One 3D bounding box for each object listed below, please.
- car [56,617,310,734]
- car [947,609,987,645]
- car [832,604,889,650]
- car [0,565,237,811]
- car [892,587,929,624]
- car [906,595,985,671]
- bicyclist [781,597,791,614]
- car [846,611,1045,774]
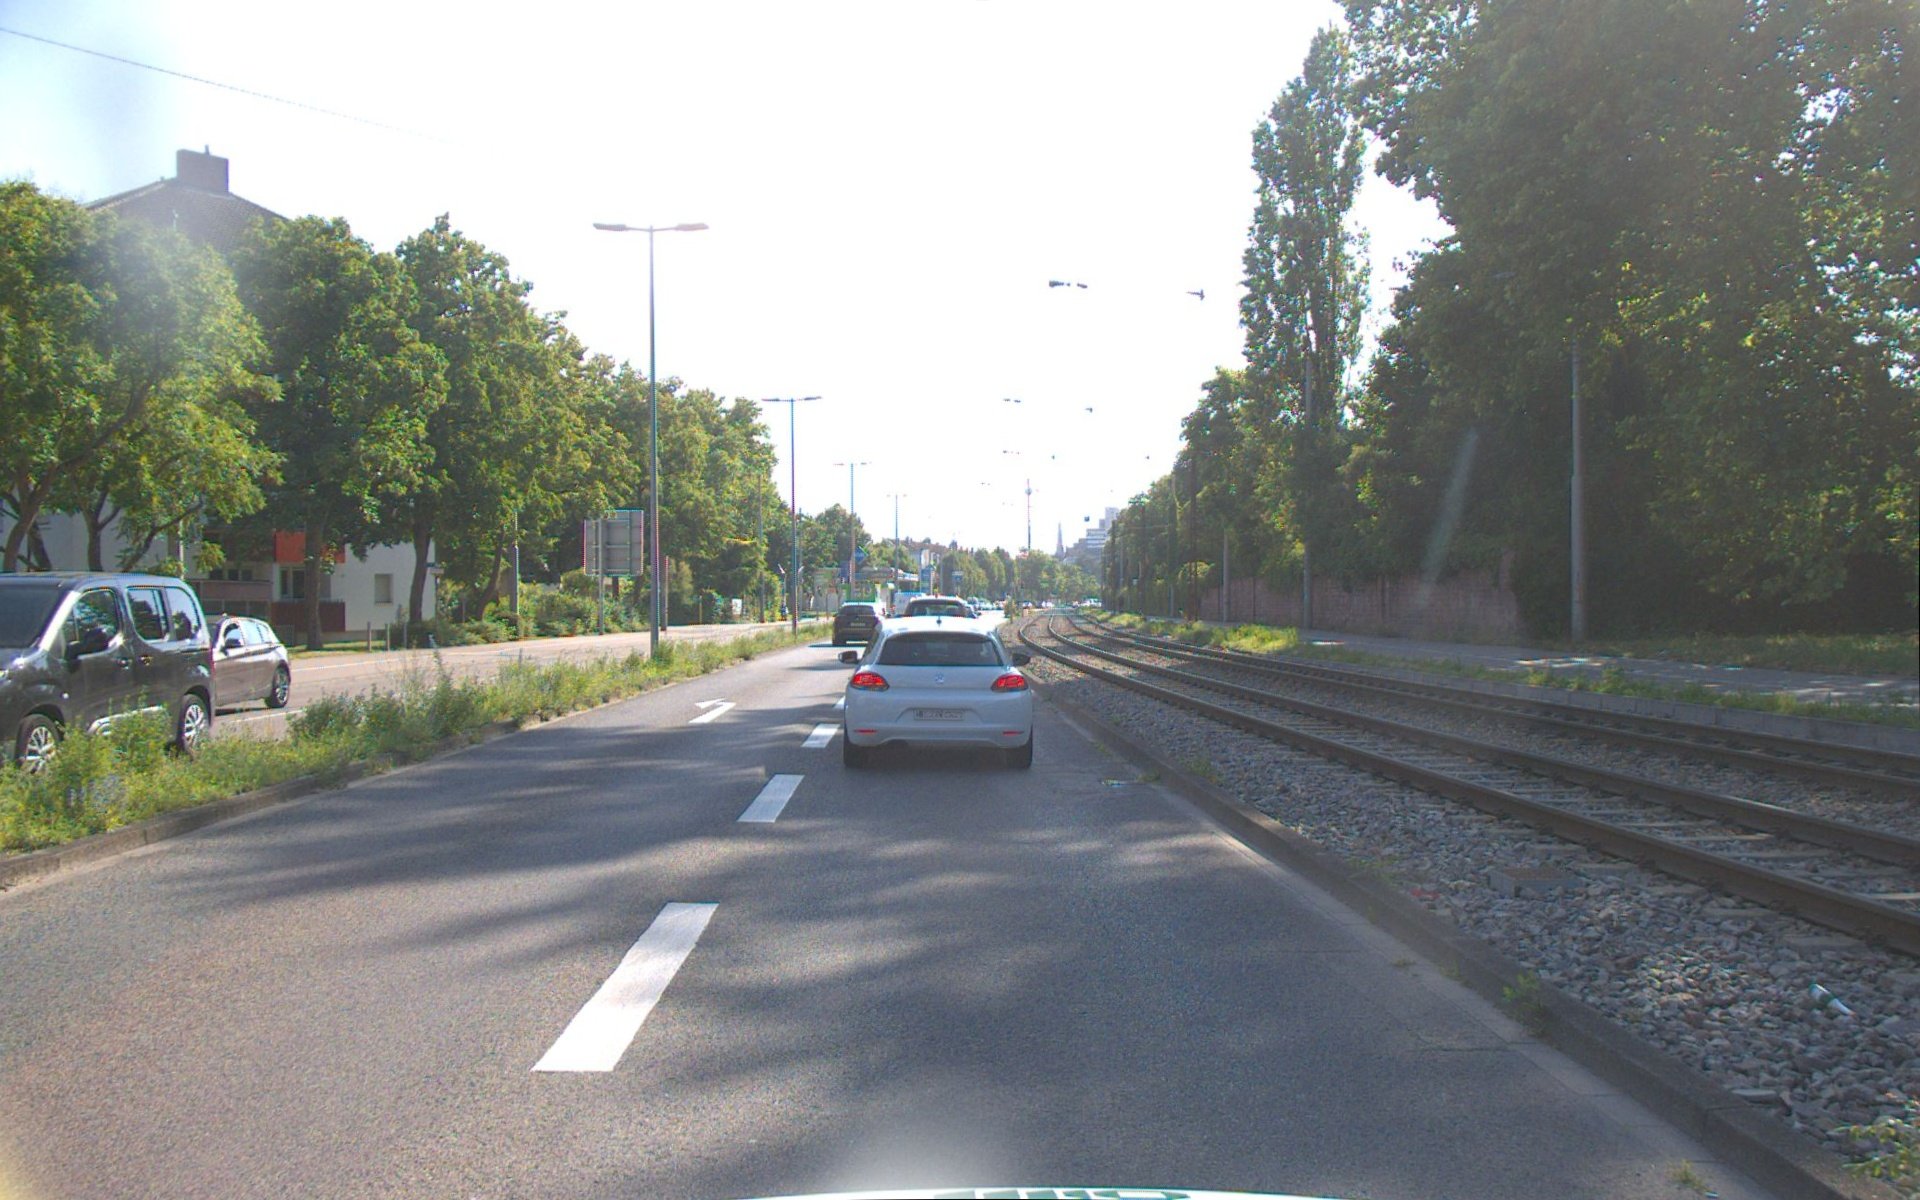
[{"bbox_3d":[-11.151,1.025,24.089,1.689,1.444,4.325,-2,0,-1],"label":"car"},{"bbox_3d":[0.313,1.199,73.769,1.713,1.511,3.601,1,0,0],"label":"car"},{"bbox_3d":[-3.430,0.907,57.764,1.724,1.511,4.644,1,0,0],"label":"car"},{"bbox_3d":[-8.031,0.660,14.197,1.754,1.815,4.479,-1,0,-2],"label":"car"},{"bbox_3d":[-2.746,0.310,93.423,1.780,1.997,4.403,-1,0,2],"label":"car"},{"bbox_3d":[-0.328,0.719,37.913,1.689,1.620,3.601,1,0,0],"label":"car"},{"bbox_3d":[-15.581,0.495,148.311,0.647,1.478,1.051,-1,0,7],"label":"bicyclist"},{"bbox_3d":[-0.138,0.835,16.465,1.744,1.380,3.601,1,0,0],"label":"car"}]
